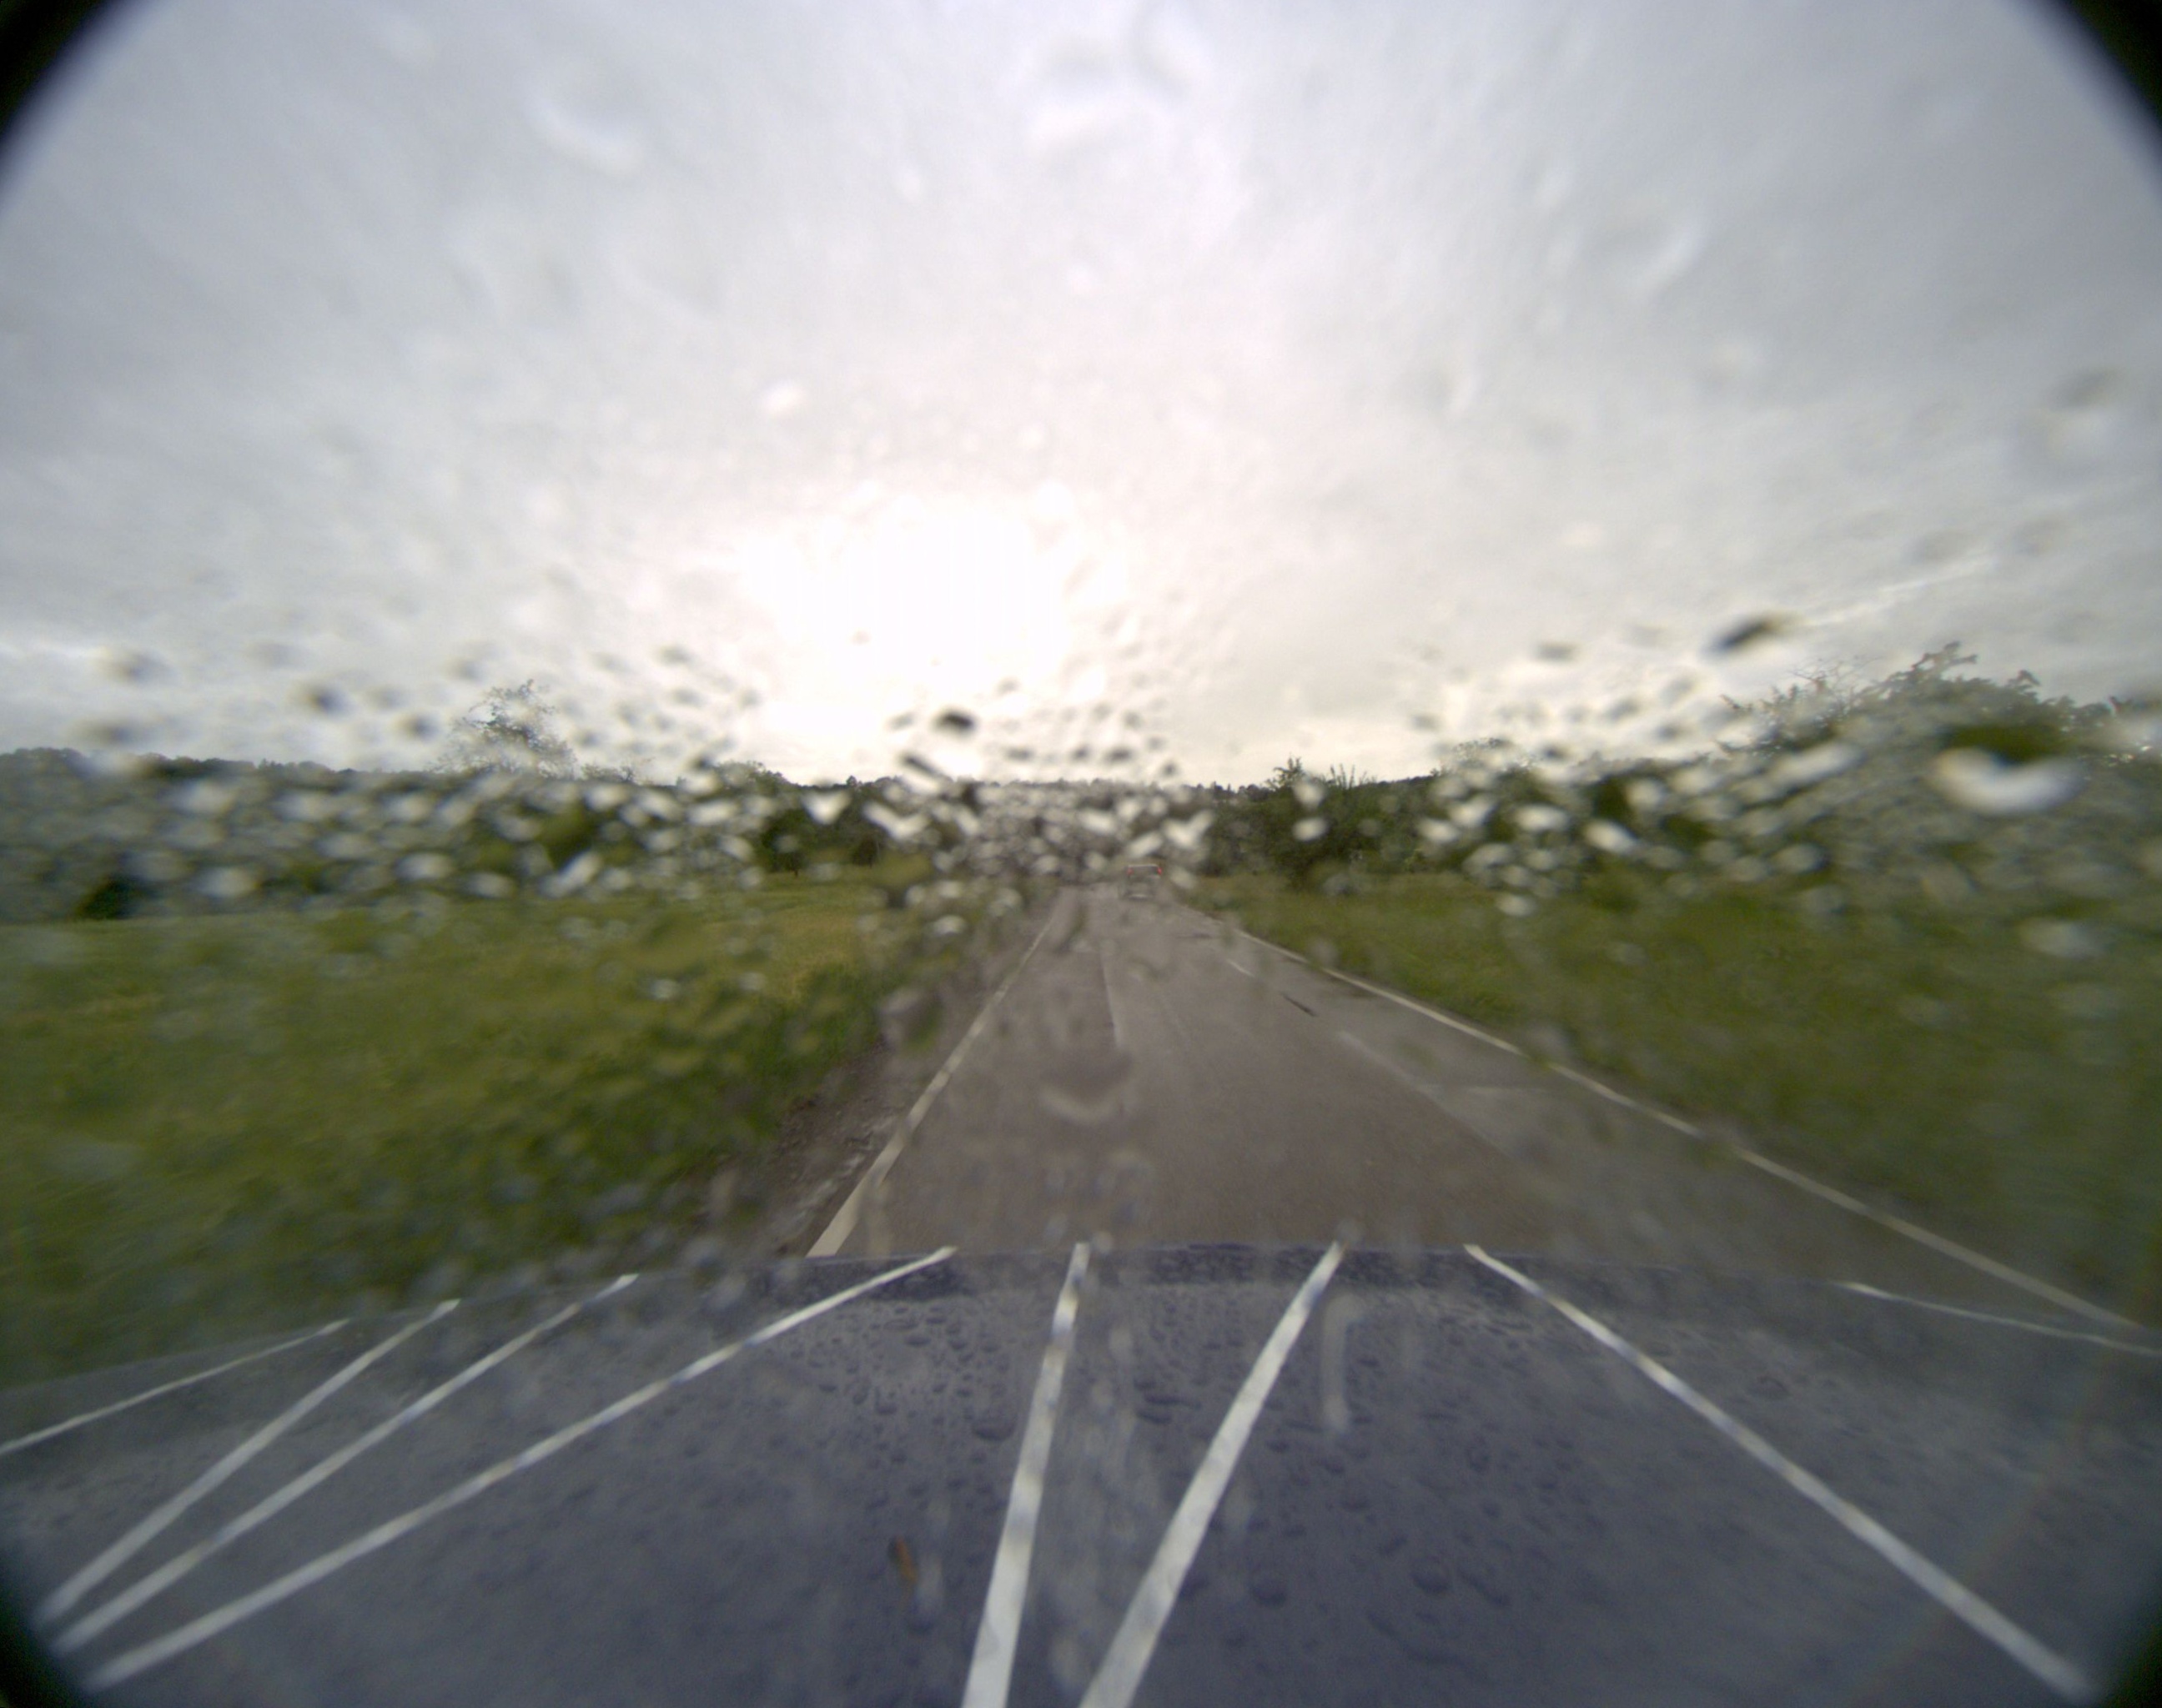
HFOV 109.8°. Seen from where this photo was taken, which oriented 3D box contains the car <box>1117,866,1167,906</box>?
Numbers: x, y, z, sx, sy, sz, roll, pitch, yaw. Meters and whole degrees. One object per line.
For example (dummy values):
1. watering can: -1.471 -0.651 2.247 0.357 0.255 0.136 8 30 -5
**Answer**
1. car: 2.564 1.324 32.958 1.744 1.463 4.122 -1 1 -1
